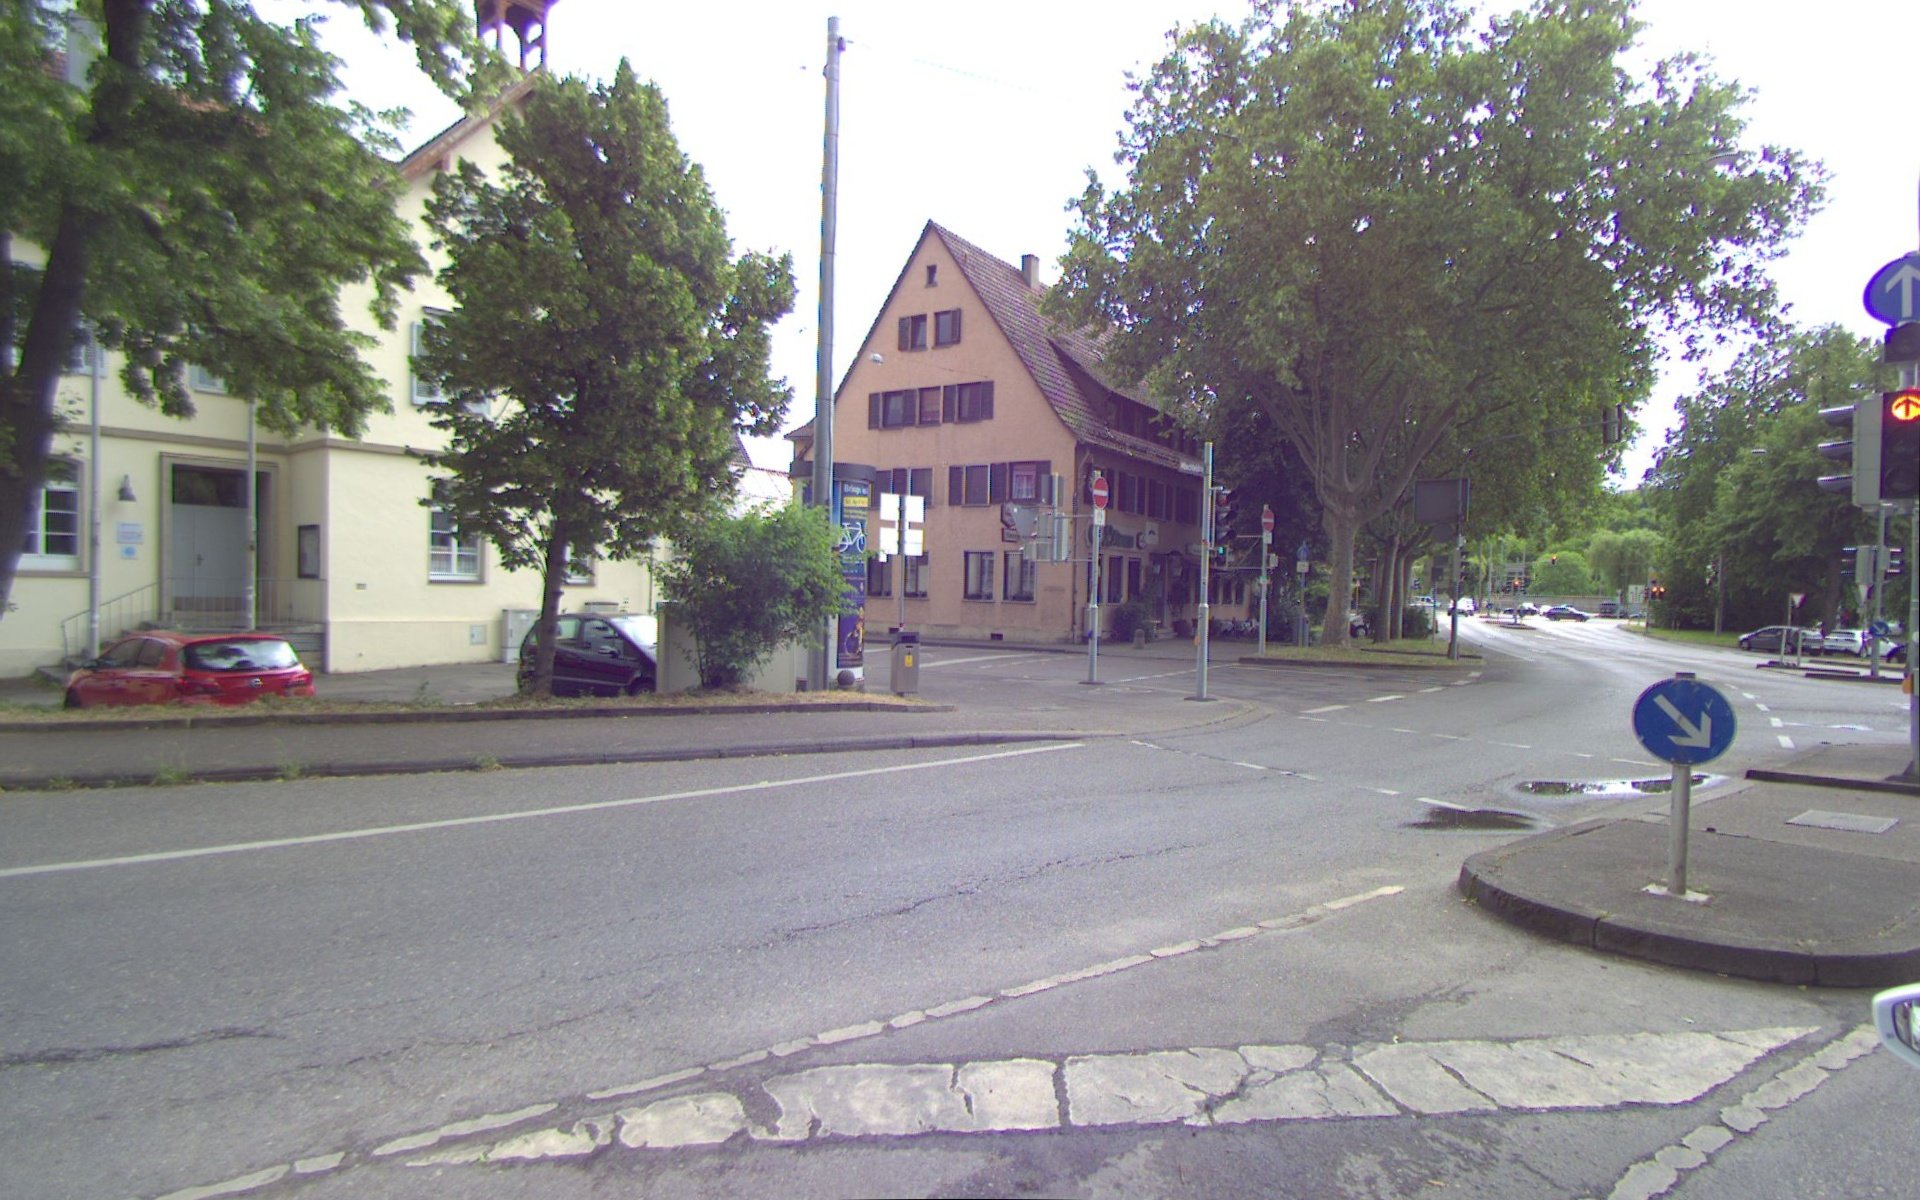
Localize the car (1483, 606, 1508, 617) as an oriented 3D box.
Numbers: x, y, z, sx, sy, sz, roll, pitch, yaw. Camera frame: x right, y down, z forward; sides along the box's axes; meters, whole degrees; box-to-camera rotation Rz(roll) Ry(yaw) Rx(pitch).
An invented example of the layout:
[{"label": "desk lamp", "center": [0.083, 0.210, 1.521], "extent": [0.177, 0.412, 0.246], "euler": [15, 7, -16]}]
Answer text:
[{"label": "car", "center": [100.729, 2.127, 188.932], "extent": [3.928, 2.040, 1.996], "euler": [2, 0, 30]}]

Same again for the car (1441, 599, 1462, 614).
[{"label": "car", "center": [47.718, 0.630, 97.538], "extent": [1.404, 1.435, 2.872], "euler": [1, -1, 19]}]

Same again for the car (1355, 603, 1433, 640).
[{"label": "car", "center": [21.414, 1.046, 49.584], "extent": [3.387, 1.663, 1.570], "euler": [2, 0, 28]}]

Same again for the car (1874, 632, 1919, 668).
[{"label": "car", "center": [39.574, 2.077, 40.944], "extent": [1.442, 1.412, 3.596], "euler": [2, 0, 3]}]

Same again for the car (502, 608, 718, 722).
[{"label": "car", "center": [-5.761, 1.005, 16.597], "extent": [3.035, 1.654, 1.607], "euler": [2, 0, 22]}]

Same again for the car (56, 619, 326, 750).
[{"label": "car", "center": [-10.172, 1.012, 13.249], "extent": [3.492, 1.397, 1.605], "euler": [2, 0, 30]}]

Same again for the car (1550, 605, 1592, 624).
[{"label": "car", "center": [72.166, 1.697, 118.660], "extent": [1.852, 2.040, 3.946], "euler": [2, 0, -45]}]

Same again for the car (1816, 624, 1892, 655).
[{"label": "car", "center": [47.307, 2.081, 53.160], "extent": [3.342, 1.484, 1.543], "euler": [2, 0, -19]}]

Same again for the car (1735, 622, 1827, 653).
[{"label": "car", "center": [43.869, 1.967, 53.760], "extent": [1.559, 1.484, 3.543], "euler": [2, 0, -17]}]

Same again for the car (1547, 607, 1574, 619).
[{"label": "car", "center": [108.243, 2.316, 181.086], "extent": [3.928, 2.040, 1.996], "euler": [2, 0, 30]}]

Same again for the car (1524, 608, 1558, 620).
[{"label": "car", "center": [84.582, 1.987, 146.346], "extent": [3.945, 1.572, 1.857], "euler": [2, 0, 45]}]

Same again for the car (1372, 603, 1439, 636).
[{"label": "car", "center": [25.475, 1.085, 57.468], "extent": [3.387, 1.765, 1.570], "euler": [2, 0, 28]}]
